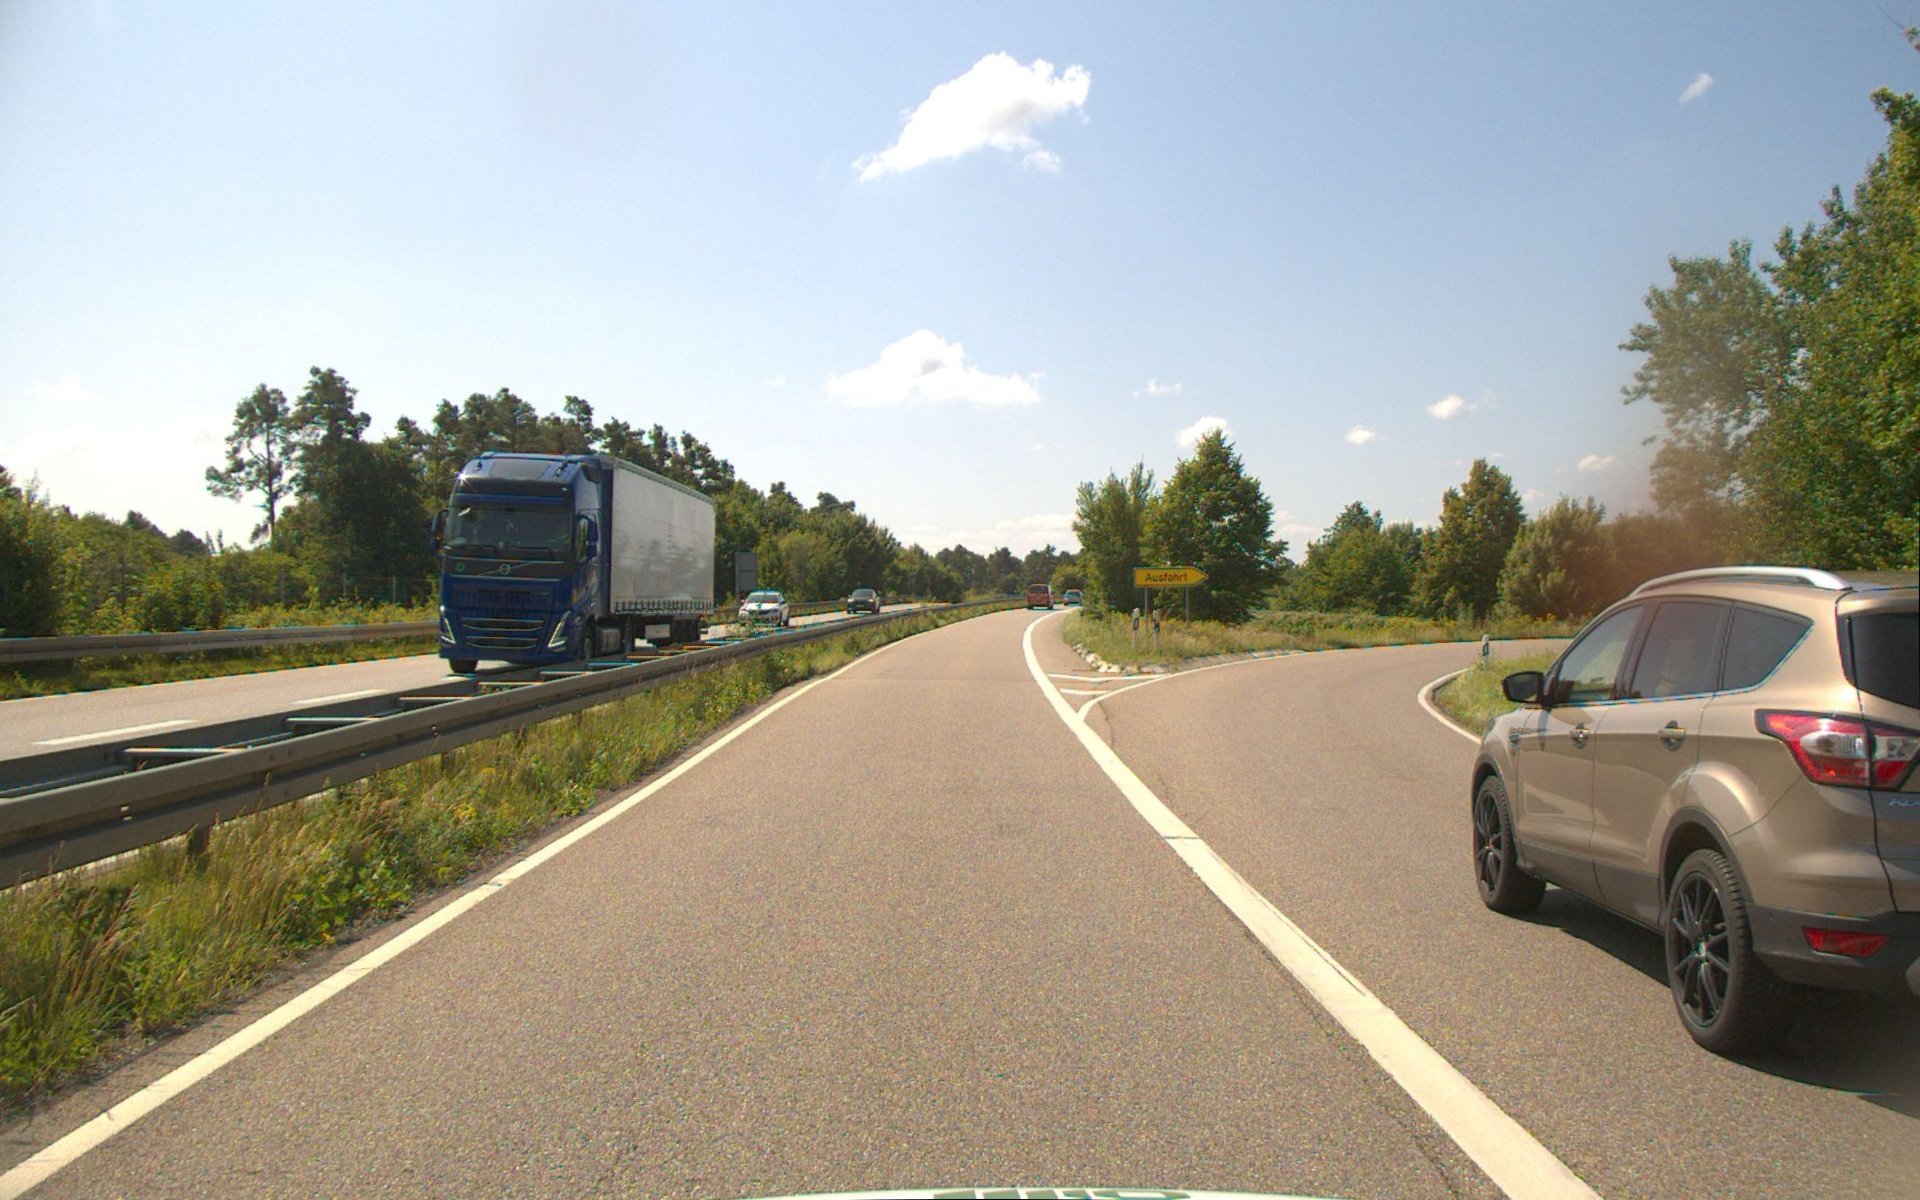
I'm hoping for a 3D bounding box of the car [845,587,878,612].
[{"bbox_3d":[-6.291,-0.044,106.061,1.719,1.527,4.575,1,0,2],"label":"car"}]

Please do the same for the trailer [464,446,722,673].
[{"bbox_3d":[-7.939,-0.775,38.305,2.689,4.245,14.582,0,0,0],"label":"trailer"}]

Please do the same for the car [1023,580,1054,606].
[{"bbox_3d":[6.292,-0.556,131.670,2.033,2.028,5.115,1,0,7],"label":"car"}]

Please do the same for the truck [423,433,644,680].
[{"bbox_3d":[-7.941,-0.765,31.513,2.711,4.260,5.597,0,0,0],"label":"truck"}]

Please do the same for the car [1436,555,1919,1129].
[{"bbox_3d":[3.616,0.708,7.211,1.855,1.695,4.667,1,0,2],"label":"car"}]

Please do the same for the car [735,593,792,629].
[{"bbox_3d":[-8.432,0.441,71.240,1.757,1.469,4.608,0,0,2],"label":"car"}]

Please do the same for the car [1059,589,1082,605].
[{"bbox_3d":[10.523,-0.286,157.629,1.964,1.520,4.241,1,0,6],"label":"car"}]
